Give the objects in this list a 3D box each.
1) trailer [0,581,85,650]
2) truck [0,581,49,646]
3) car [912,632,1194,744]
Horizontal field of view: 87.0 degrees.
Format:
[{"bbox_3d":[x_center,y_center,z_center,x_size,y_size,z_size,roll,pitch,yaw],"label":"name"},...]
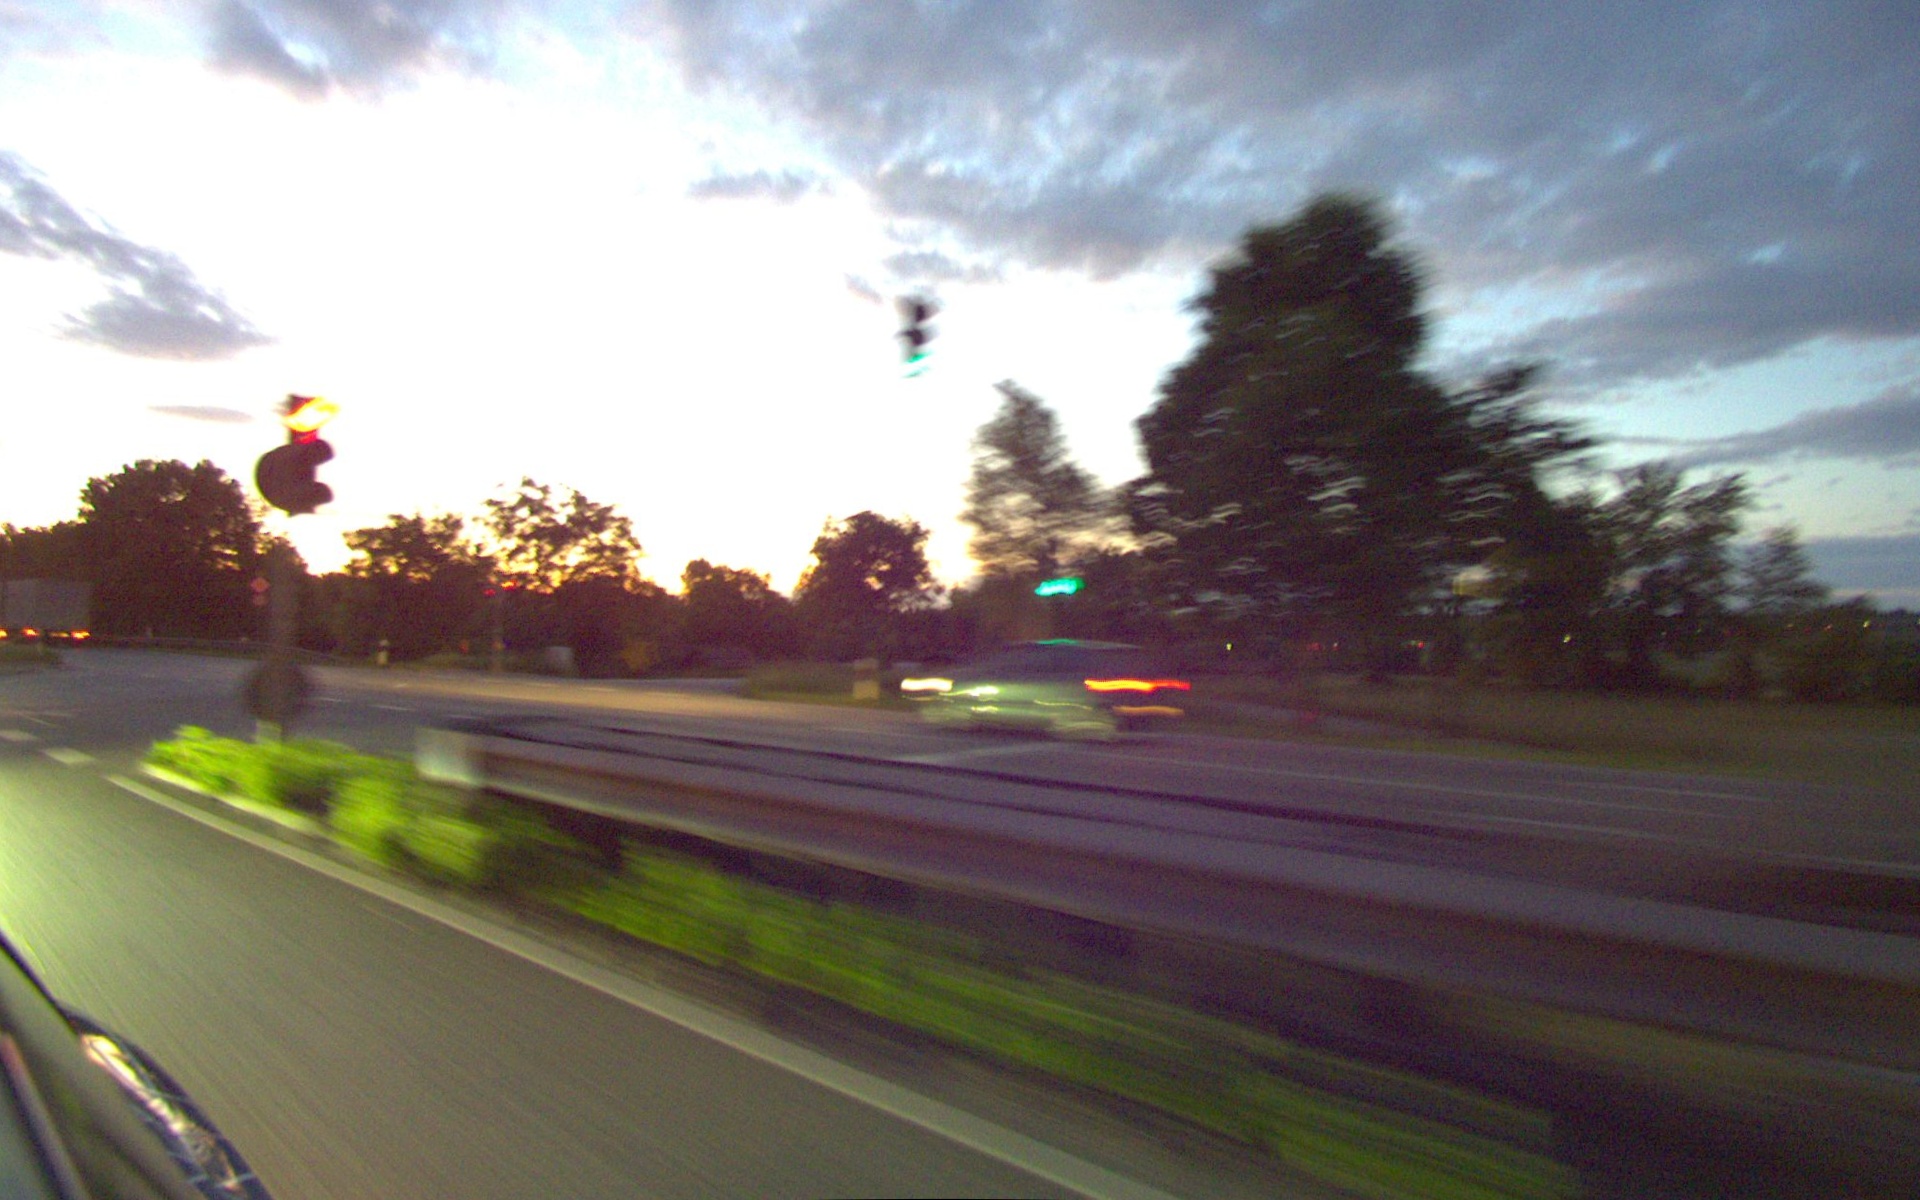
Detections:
[{"bbox_3d":[-56.945,0.980,62.472,8.863,3.973,2.552,-1,-4,37],"label":"trailer"},{"bbox_3d":[-64.742,0.933,68.159,10.321,4.149,2.702,-1,-2,35],"label":"truck"},{"bbox_3d":[1.321,1.227,15.318,4.025,1.395,1.636,-1,0,38],"label":"car"}]
